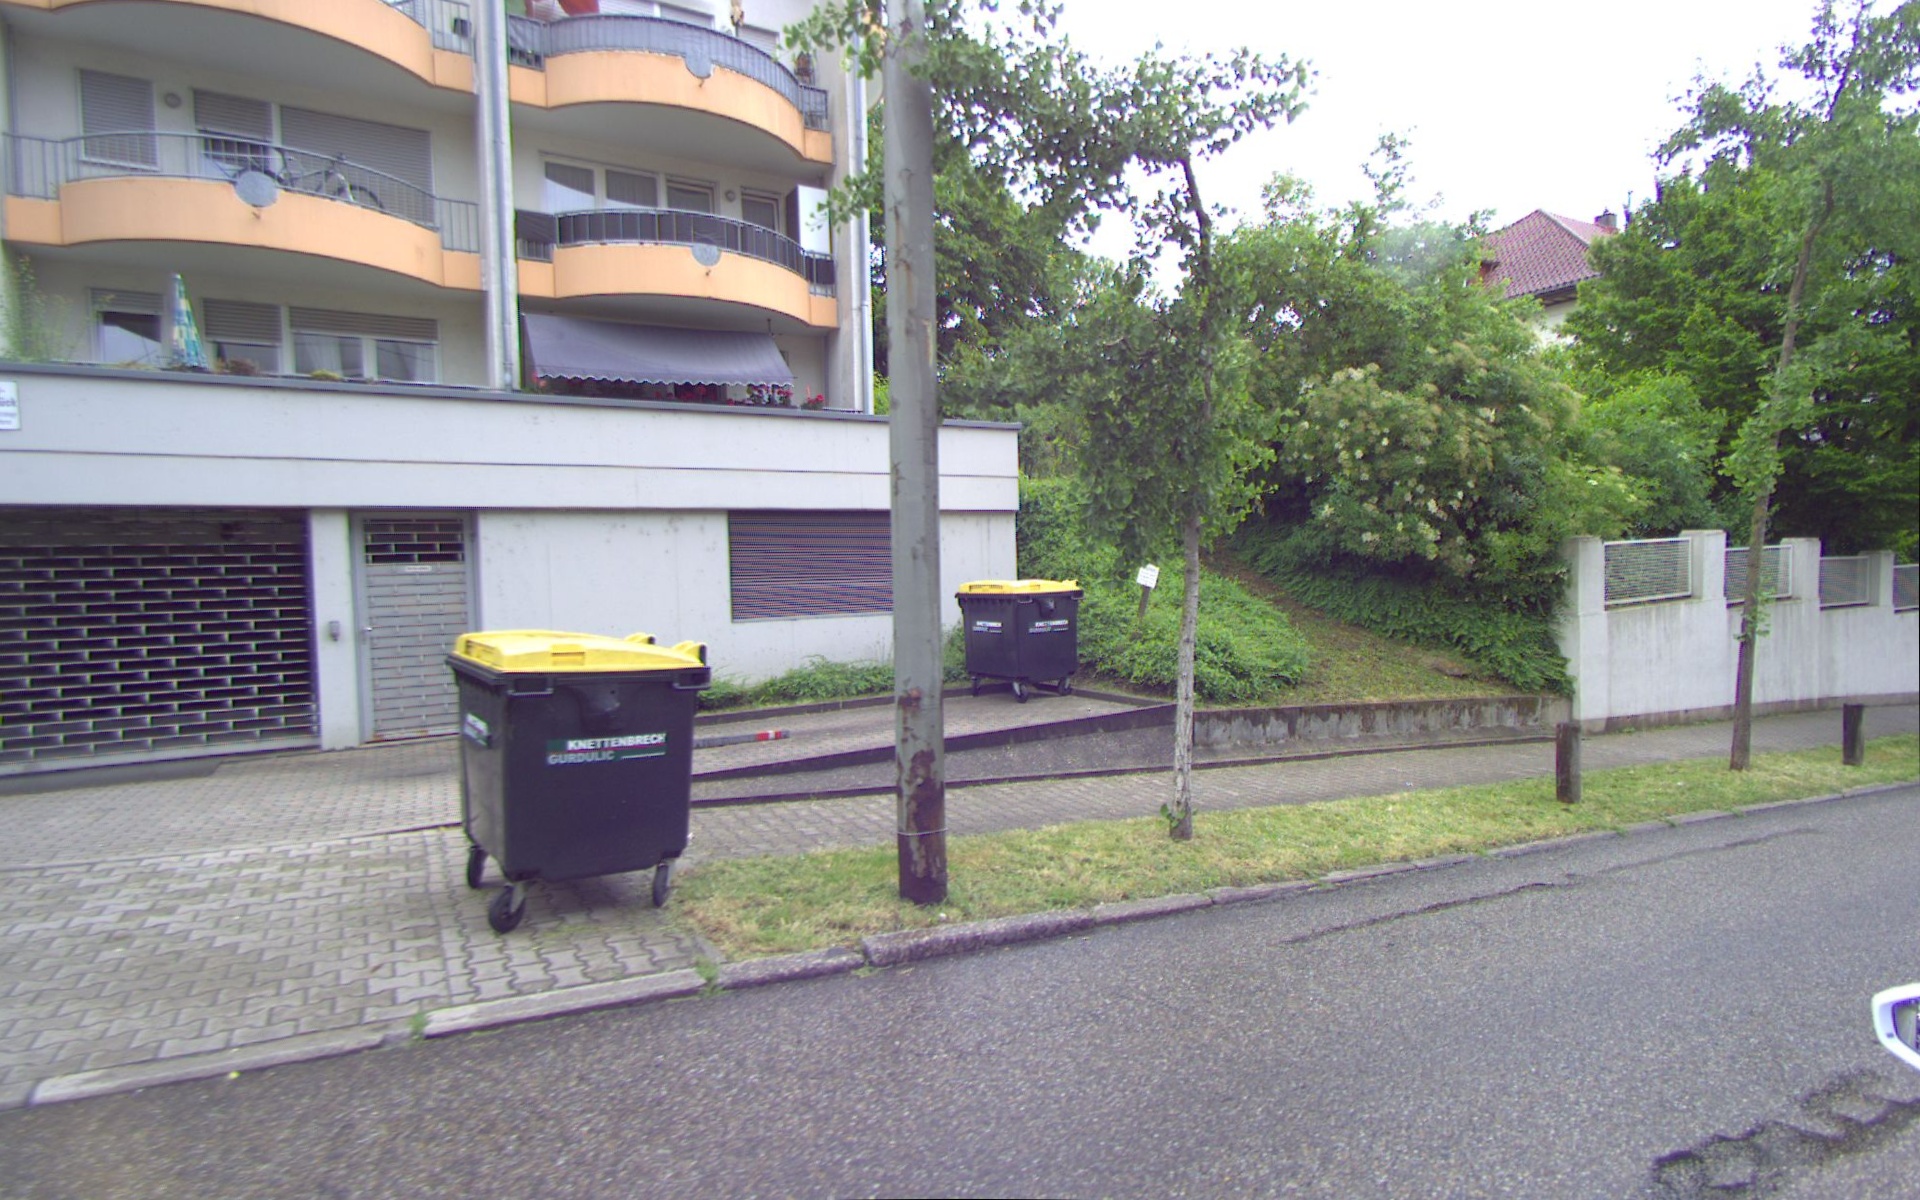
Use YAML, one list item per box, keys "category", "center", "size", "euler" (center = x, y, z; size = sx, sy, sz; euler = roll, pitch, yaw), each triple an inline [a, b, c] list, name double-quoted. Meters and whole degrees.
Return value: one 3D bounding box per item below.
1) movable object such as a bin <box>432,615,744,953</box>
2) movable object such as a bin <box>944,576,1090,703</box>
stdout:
- category: "movable object such as a bin"
  center: [-1.940, 0.837, 5.175]
  size: [1.114, 1.368, 1.213]
  euler: [4, 2, -38]
- category: "movable object such as a bin"
  center: [0.653, 0.412, 11.649]
  size: [1.152, 1.333, 1.252]
  euler: [-3, 3, -38]
